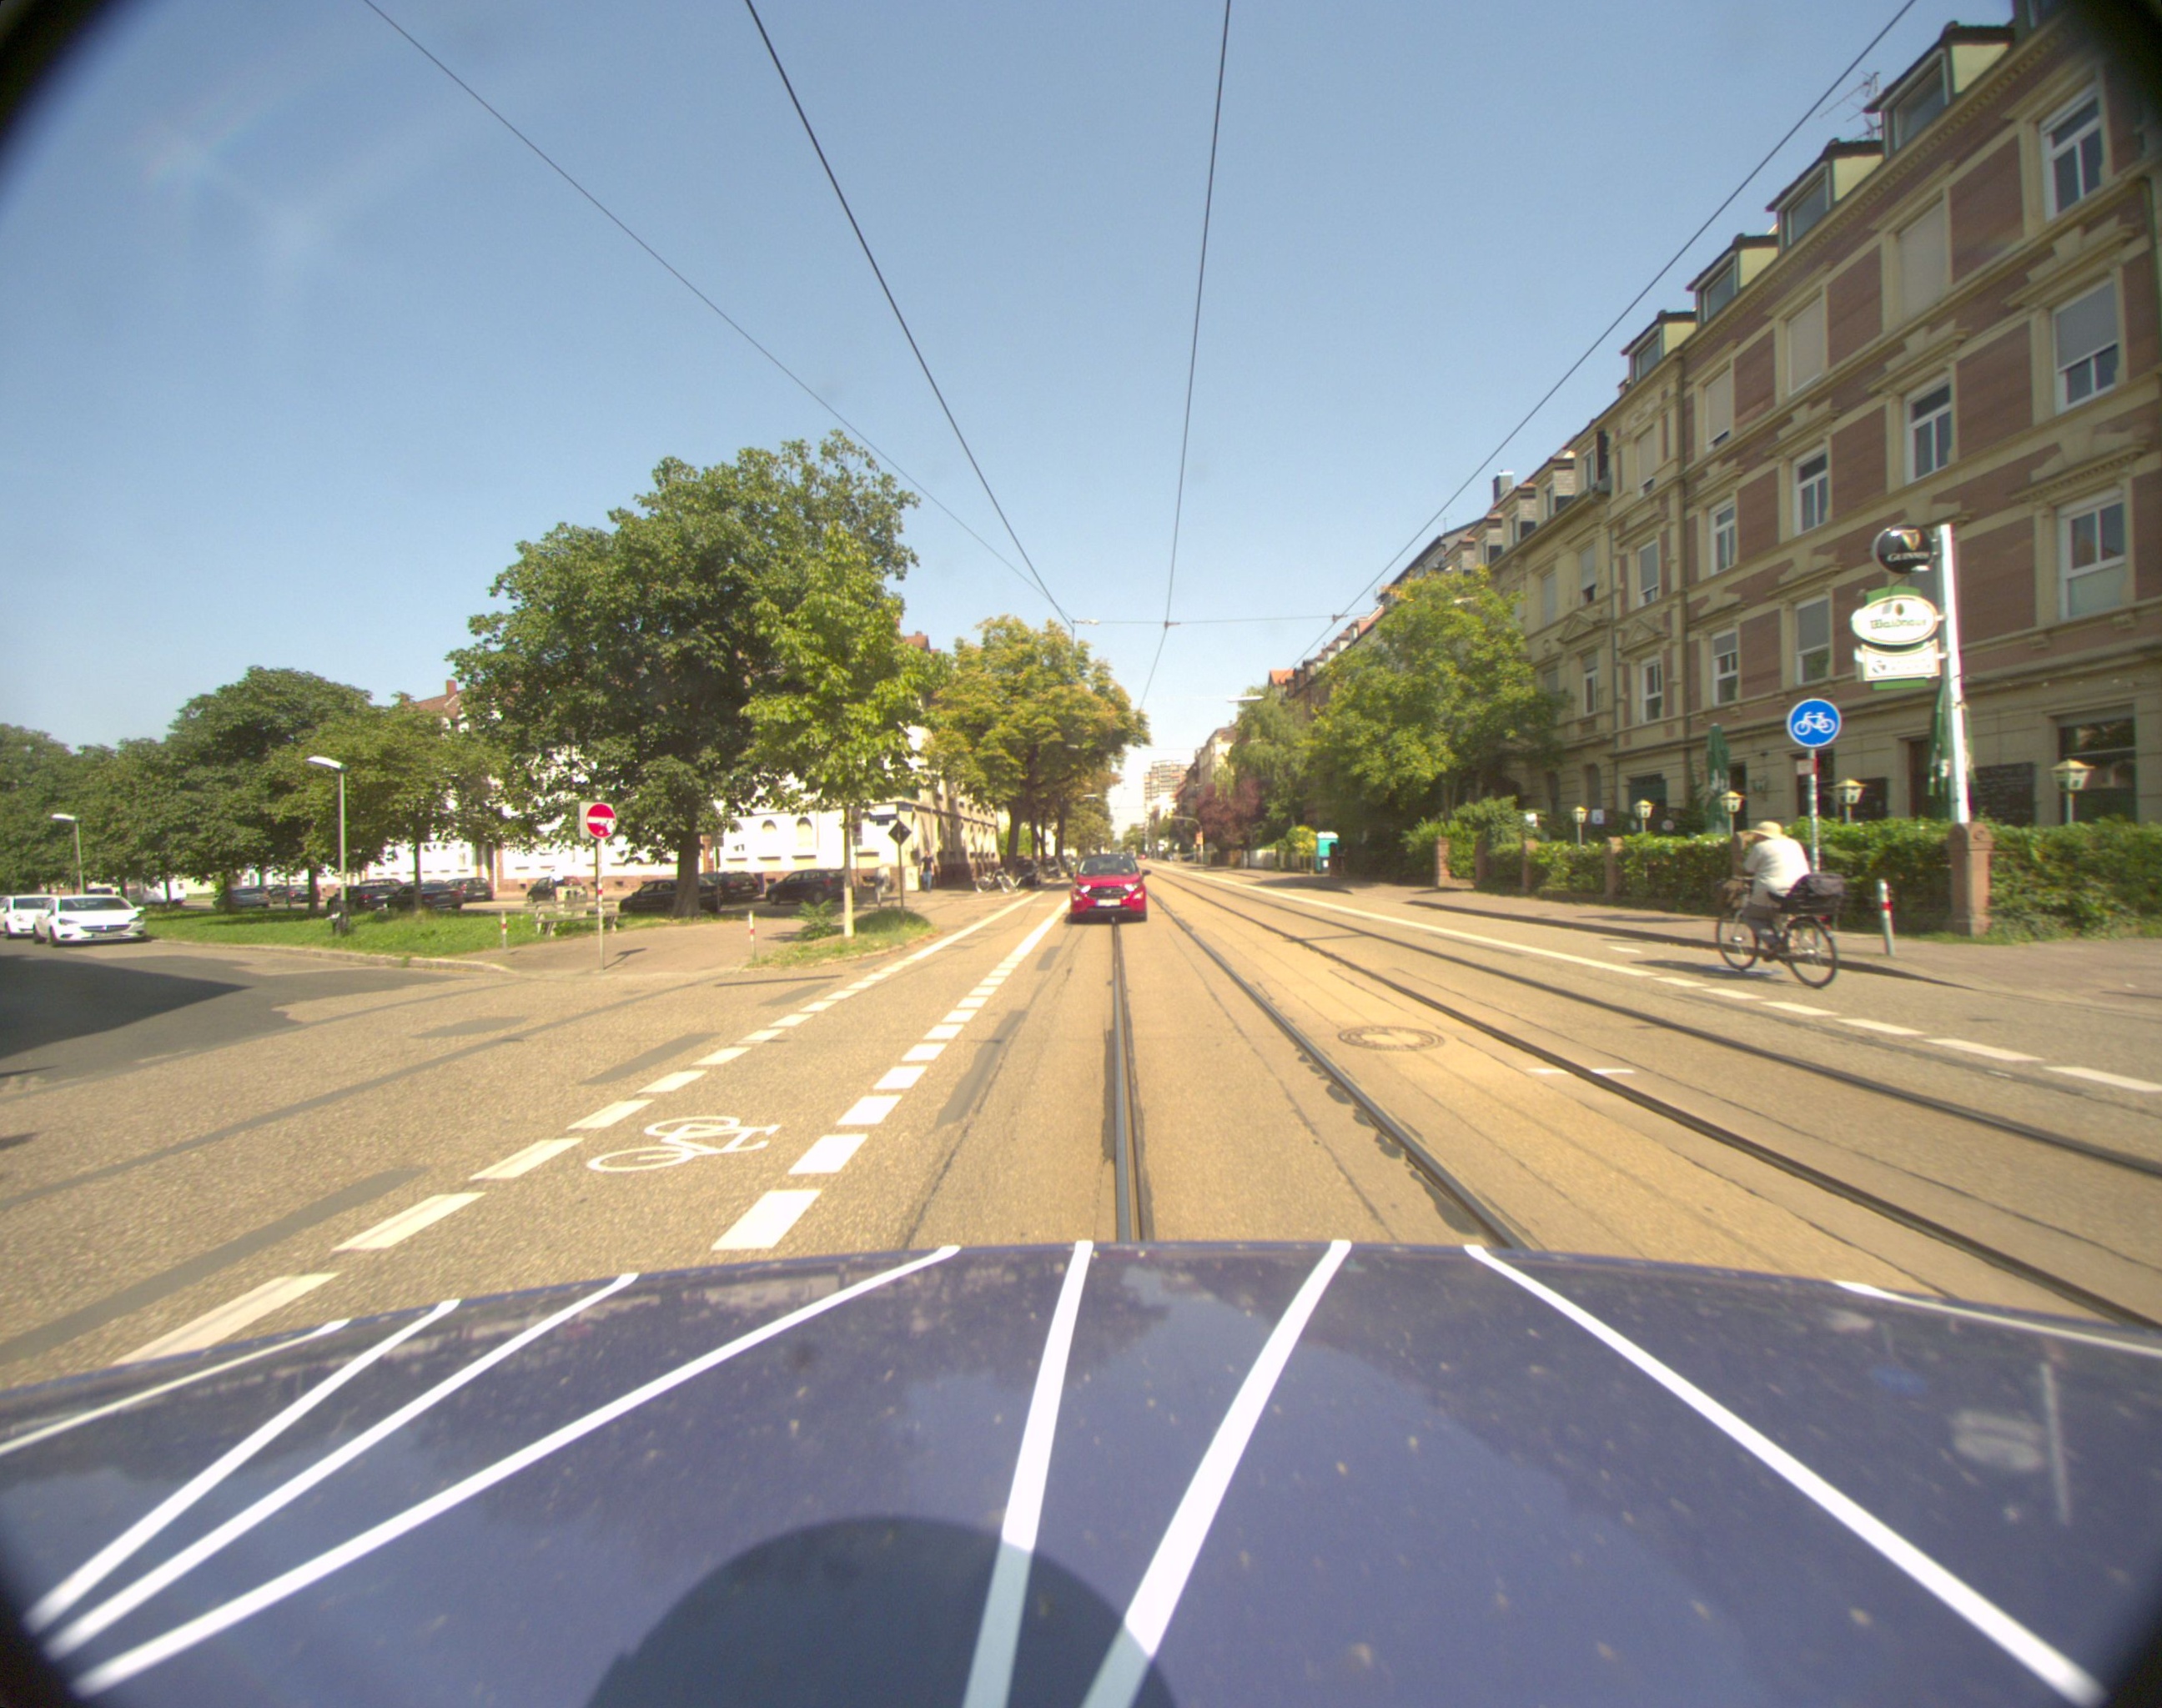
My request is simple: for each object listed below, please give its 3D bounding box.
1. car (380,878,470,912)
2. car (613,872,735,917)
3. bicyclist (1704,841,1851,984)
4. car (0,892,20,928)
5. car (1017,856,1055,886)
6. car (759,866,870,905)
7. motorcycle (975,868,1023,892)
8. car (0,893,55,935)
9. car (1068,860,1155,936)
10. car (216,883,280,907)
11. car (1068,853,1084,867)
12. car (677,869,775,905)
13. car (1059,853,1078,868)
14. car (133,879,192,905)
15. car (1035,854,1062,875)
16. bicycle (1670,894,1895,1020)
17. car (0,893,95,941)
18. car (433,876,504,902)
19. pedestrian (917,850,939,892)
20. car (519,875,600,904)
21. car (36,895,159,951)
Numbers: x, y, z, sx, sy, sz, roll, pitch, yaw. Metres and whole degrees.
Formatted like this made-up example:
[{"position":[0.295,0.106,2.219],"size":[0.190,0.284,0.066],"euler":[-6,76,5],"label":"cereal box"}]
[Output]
[{"position":[-30.941,1.922,35.817],"size":[4.267,1.422,1.841],"euler":[-2,0,30],"label":"car"},{"position":[-14.214,1.384,26.519],"size":[3.989,1.422,1.841],"euler":[-2,0,30],"label":"car"},{"position":[7.353,0.583,8.070],"size":[0.657,1.420,0.974],"euler":[-1,1,1],"label":"bicyclist"},{"position":[-46.896,2.418,32.327],"size":[3.989,1.470,1.602],"euler":[-2,1,30],"label":"car"},{"position":[-2.486,0.915,42.731],"size":[1.598,1.489,4.053],"euler":[-2,0,3],"label":"car"},{"position":[-10.912,1.293,31.116],"size":[3.990,1.435,1.978],"euler":[-2,0,25],"label":"car"},{"position":[-3.603,1.136,33.669],"size":[1.999,1.009,0.796],"euler":[1,1,2],"label":"motorcycle"},{"position":[-41.501,2.283,29.412],"size":[3.989,1.470,1.602],"euler":[-2,1,30],"label":"car"},{"position":[0.794,0.970,18.509],"size":[1.815,1.542,4.022],"euler":[-2,0,4],"label":"car"},{"position":[-52.703,2.574,48.055],"size":[3.989,1.422,1.841],"euler":[-2,0,30],"label":"car"},{"position":[-0.523,0.628,87.039],"size":[1.555,1.489,4.265],"euler":[-2,0,3],"label":"car"},{"position":[-15.814,1.457,33.847],"size":[3.989,1.430,1.979],"euler":[-2,0,30],"label":"car"},{"position":[-1.239,0.634,76.408],"size":[1.598,1.489,4.053],"euler":[-2,0,3],"label":"car"},{"position":[-68.005,2.812,56.253],"size":[3.989,1.726,2.048],"euler":[-2,0,30],"label":"car"},{"position":[-2.425,0.754,57.696],"size":[1.598,1.489,4.053],"euler":[-2,0,3],"label":"car"},{"position":[7.357,1.019,8.121],"size":[0.642,1.070,1.915],"euler":[-1,0,1],"label":"bicycle"},{"position":[-36.176,2.129,26.505],"size":[3.989,1.470,1.602],"euler":[-2,1,30],"label":"car"},{"position":[-36.934,2.084,45.796],"size":[3.989,1.430,1.979],"euler":[-2,0,30],"label":"car"},{"position":[-6.642,0.729,32.988],"size":[0.749,1.775,0.632],"euler":[-2,1,3],"label":"pedestrian"},{"position":[-27.870,1.892,40.600],"size":[3.989,1.430,1.979],"euler":[-2,0,30],"label":"car"},{"position":[-29.755,2.017,22.971],"size":[3.989,1.470,1.691],"euler":[-2,0,30],"label":"car"}]
